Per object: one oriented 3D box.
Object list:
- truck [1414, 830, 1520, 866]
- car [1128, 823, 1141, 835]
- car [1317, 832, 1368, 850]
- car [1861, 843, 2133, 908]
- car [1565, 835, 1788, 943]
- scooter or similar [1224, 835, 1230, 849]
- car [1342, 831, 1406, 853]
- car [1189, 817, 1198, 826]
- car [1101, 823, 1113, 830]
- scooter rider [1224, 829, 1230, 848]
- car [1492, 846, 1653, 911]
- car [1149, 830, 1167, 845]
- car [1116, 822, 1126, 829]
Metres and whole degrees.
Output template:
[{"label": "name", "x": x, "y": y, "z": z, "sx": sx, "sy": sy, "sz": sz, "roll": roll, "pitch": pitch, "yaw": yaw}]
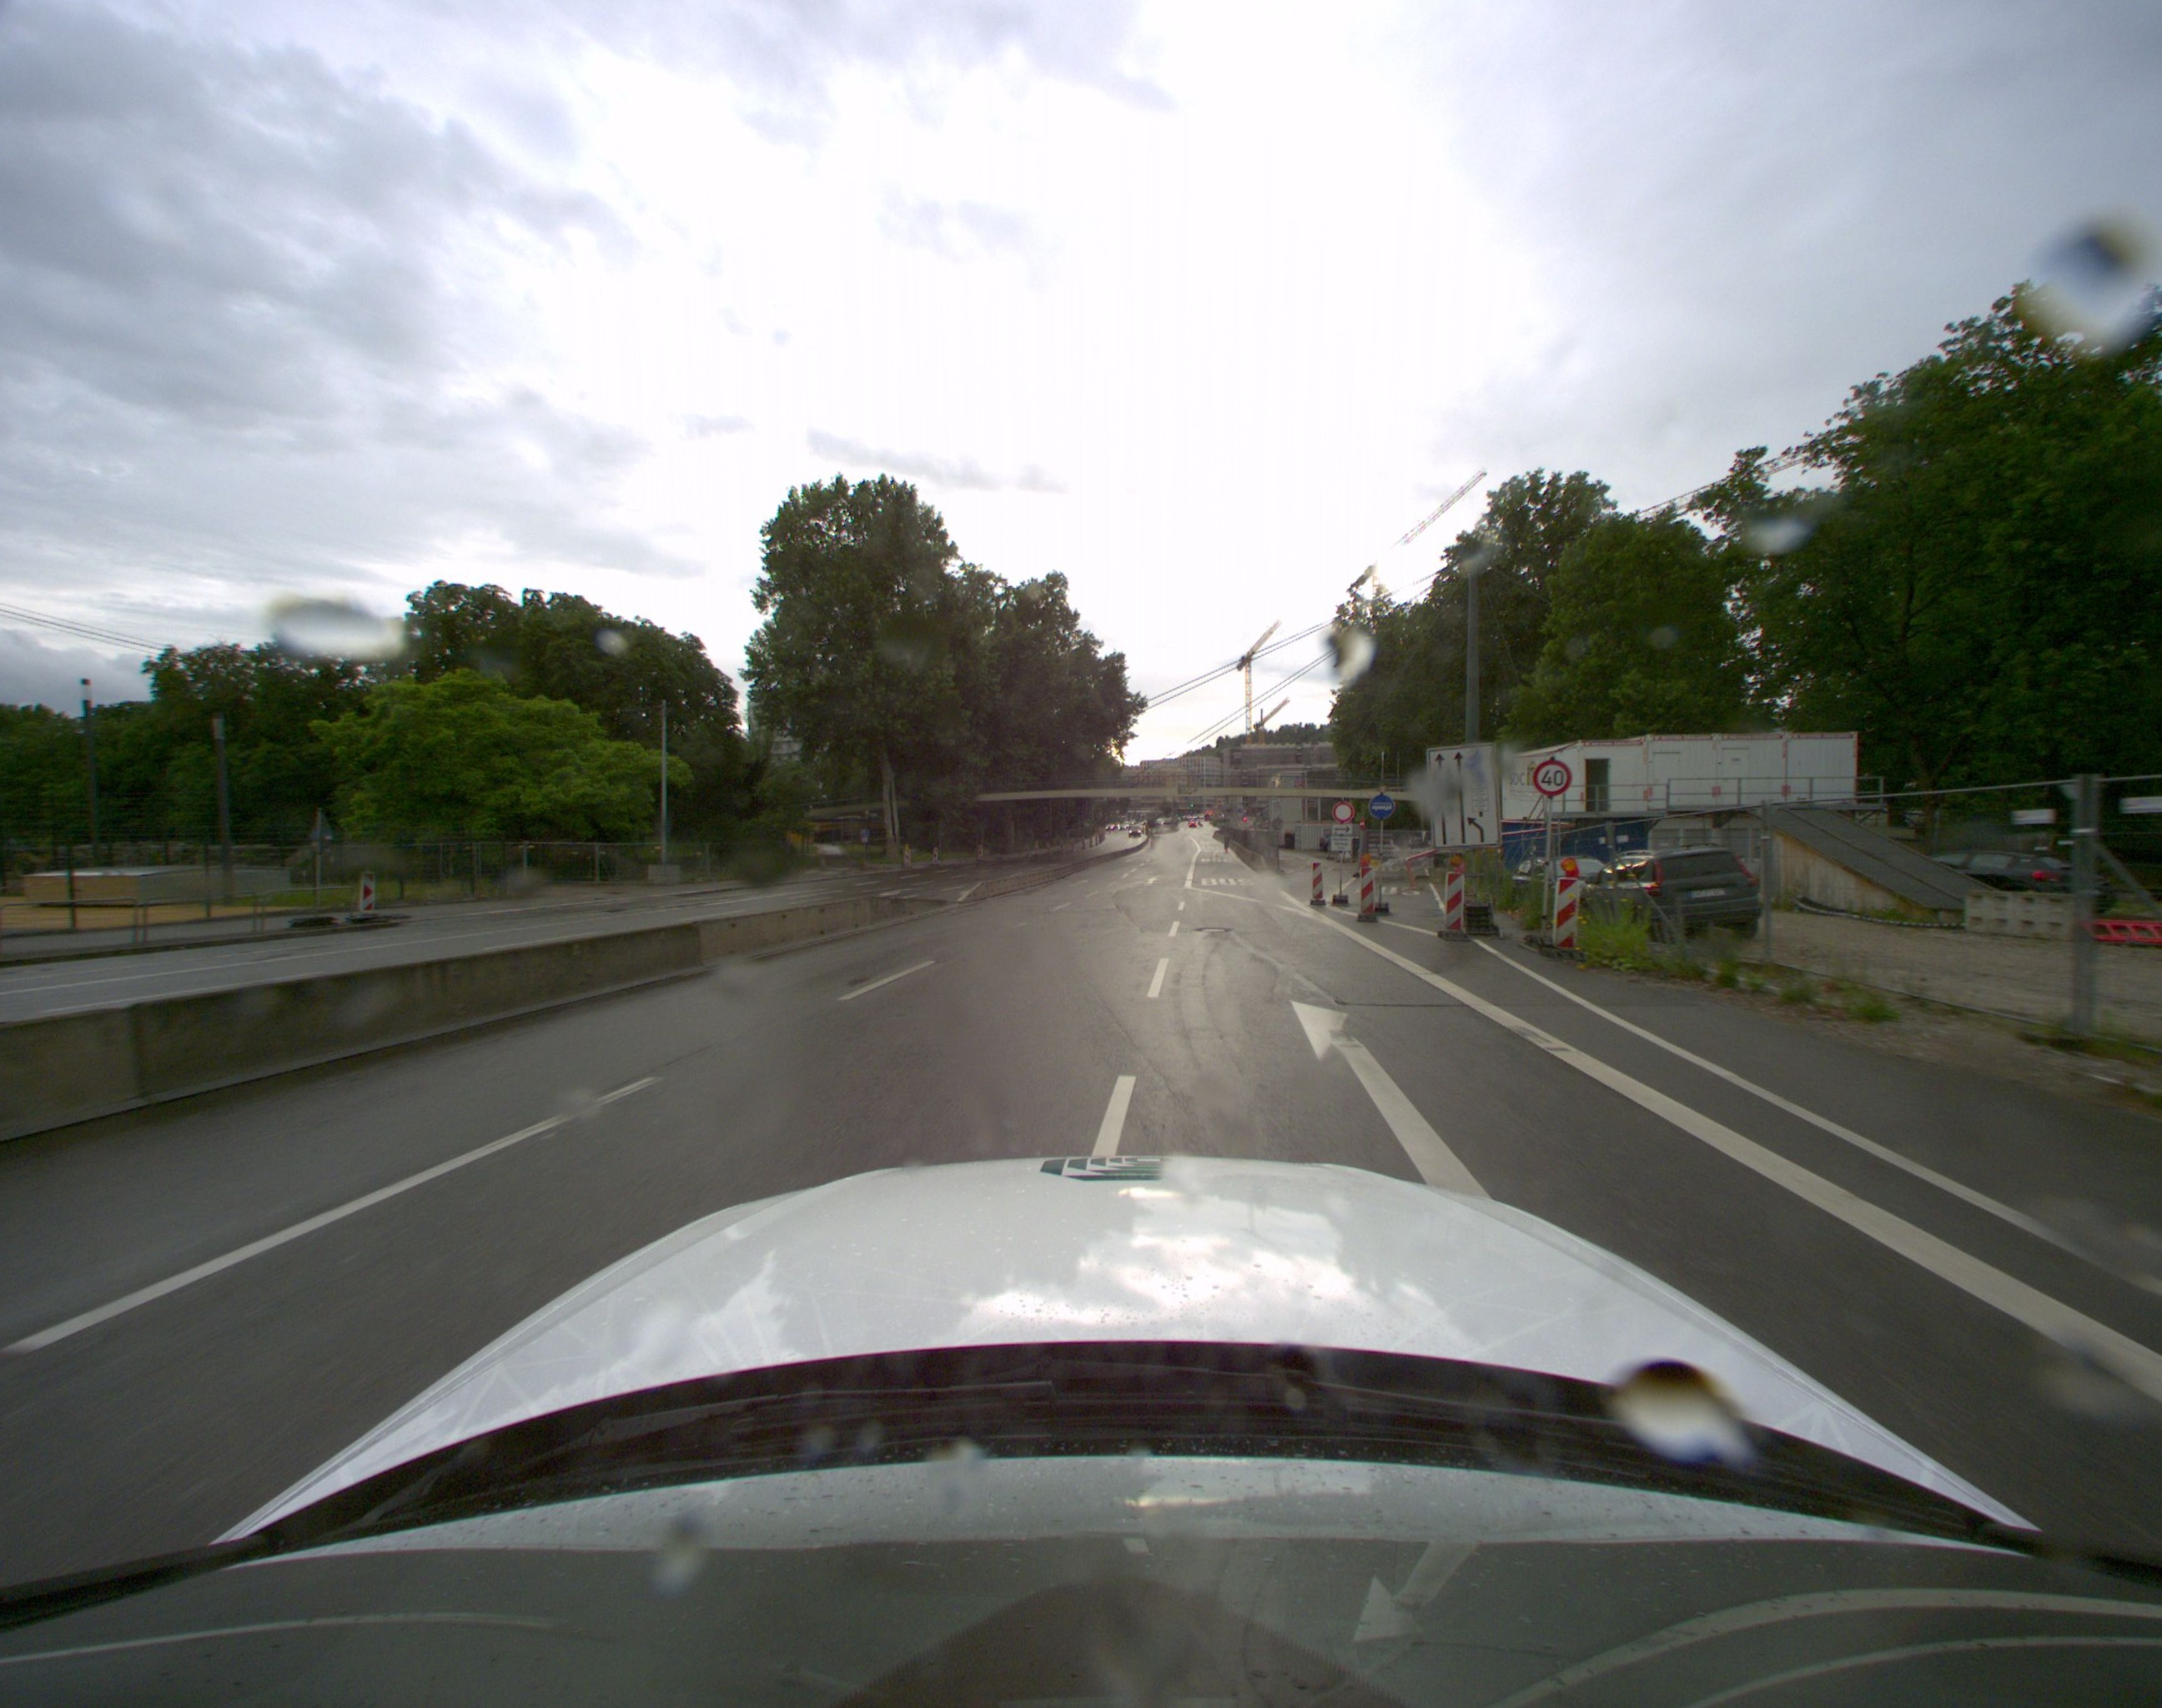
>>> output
[{"label": "truck", "x": 22.752, "y": -0.352, "z": 48.189, "sx": 5.135, "sy": 2.013, "sz": 2.410, "roll": -1, "pitch": 0, "yaw": 1}, {"label": "car", "x": 9.022, "y": -4.236, "z": 138.834, "sx": 2.023, "sy": 1.936, "sz": 5.047, "roll": -2, "pitch": 0, "yaw": 2}, {"label": "car", "x": 25.610, "y": -1.301, "z": 79.973, "sx": 4.520, "sy": 1.628, "sz": 1.791, "roll": -1, "pitch": 3, "yaw": 5}, {"label": "car", "x": 20.371, "y": 0.415, "z": 18.409, "sx": 1.705, "sy": 1.306, "sz": 4.001, "roll": 0, "pitch": 0, "yaw": 1}, {"label": "car", "x": 11.135, "y": 0.561, "z": 15.682, "sx": 1.907, "sy": 1.649, "sz": 4.432, "roll": -6, "pitch": -1, "yaw": 15}, {"label": "scooter or similar", "x": 14.085, "y": -1.133, "z": 78.683, "sx": 0.593, "sy": 1.319, "sz": 1.672, "roll": 0, "pitch": 2, "yaw": 10}, {"label": "car", "x": 23.552, "y": -1.001, "z": 65.581, "sx": 4.480, "sy": 1.728, "sz": 2.002, "roll": 0, "pitch": 2, "yaw": 2}, {"label": "car", "x": 27.766, "y": -8.121, "z": 201.270, "sx": 1.982, "sy": 2.013, "sz": 4.010, "roll": -2, "pitch": 0, "yaw": 9}, {"label": "car", "x": 6.247, "y": -6.569, "z": 192.655, "sx": 2.030, "sy": 1.653, "sz": 4.306, "roll": -2, "pitch": 3, "yaw": -9}, {"label": "scooter rider", "x": 14.077, "y": -1.537, "z": 78.633, "sx": 0.593, "sy": 1.785, "sz": 1.000, "roll": 0, "pitch": 2, "yaw": 10}, {"label": "car", "x": 12.835, "y": 0.675, "z": 21.591, "sx": 1.844, "sy": 1.485, "sz": 4.000, "roll": -2, "pitch": -2, "yaw": 1}, {"label": "car", "x": 8.951, "y": -1.894, "z": 94.607, "sx": 1.893, "sy": 1.528, "sz": 4.183, "roll": -2, "pitch": 0, "yaw": 5}, {"label": "car", "x": 9.472, "y": -6.823, "z": 192.199, "sx": 1.708, "sy": 1.338, "sz": 4.058, "roll": -9, "pitch": 1, "yaw": -3}]
